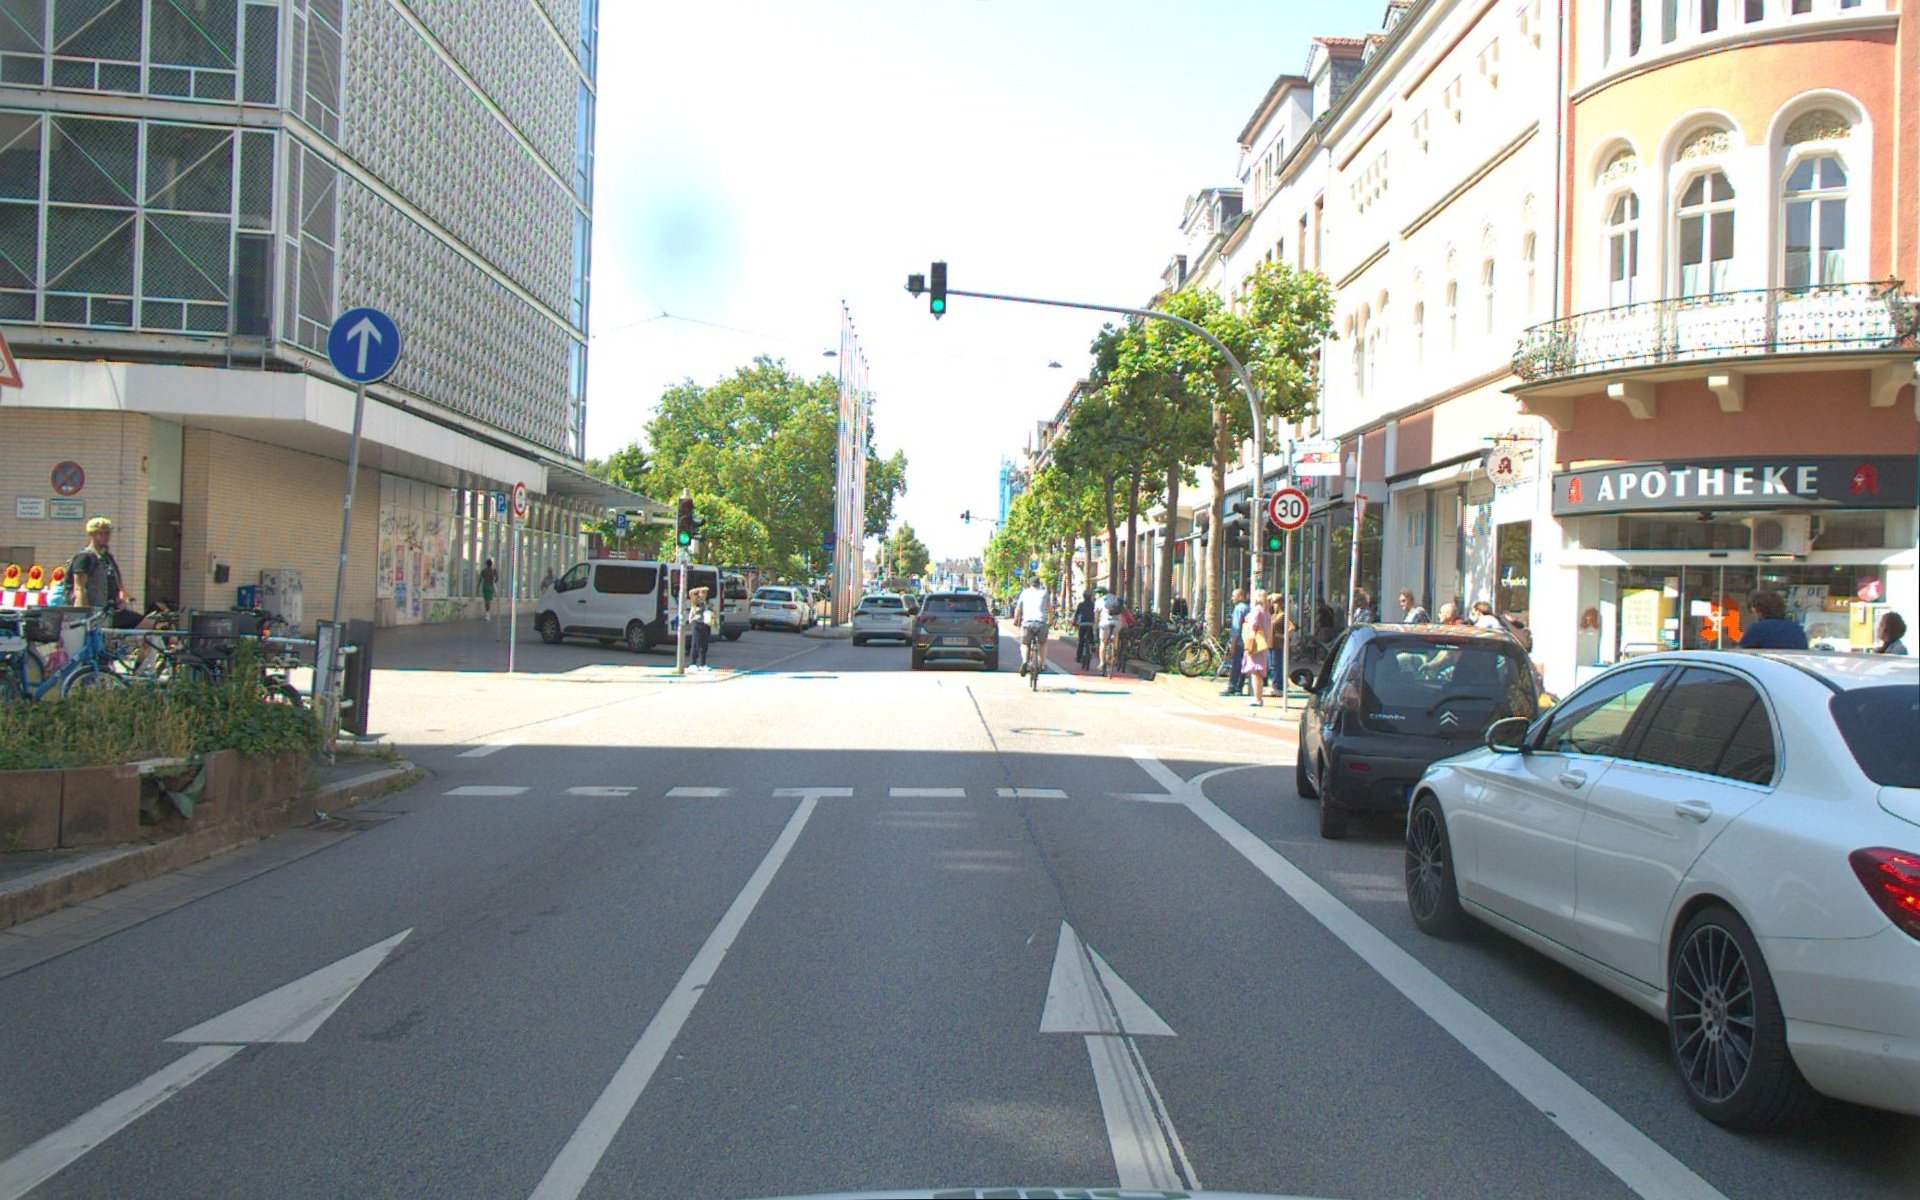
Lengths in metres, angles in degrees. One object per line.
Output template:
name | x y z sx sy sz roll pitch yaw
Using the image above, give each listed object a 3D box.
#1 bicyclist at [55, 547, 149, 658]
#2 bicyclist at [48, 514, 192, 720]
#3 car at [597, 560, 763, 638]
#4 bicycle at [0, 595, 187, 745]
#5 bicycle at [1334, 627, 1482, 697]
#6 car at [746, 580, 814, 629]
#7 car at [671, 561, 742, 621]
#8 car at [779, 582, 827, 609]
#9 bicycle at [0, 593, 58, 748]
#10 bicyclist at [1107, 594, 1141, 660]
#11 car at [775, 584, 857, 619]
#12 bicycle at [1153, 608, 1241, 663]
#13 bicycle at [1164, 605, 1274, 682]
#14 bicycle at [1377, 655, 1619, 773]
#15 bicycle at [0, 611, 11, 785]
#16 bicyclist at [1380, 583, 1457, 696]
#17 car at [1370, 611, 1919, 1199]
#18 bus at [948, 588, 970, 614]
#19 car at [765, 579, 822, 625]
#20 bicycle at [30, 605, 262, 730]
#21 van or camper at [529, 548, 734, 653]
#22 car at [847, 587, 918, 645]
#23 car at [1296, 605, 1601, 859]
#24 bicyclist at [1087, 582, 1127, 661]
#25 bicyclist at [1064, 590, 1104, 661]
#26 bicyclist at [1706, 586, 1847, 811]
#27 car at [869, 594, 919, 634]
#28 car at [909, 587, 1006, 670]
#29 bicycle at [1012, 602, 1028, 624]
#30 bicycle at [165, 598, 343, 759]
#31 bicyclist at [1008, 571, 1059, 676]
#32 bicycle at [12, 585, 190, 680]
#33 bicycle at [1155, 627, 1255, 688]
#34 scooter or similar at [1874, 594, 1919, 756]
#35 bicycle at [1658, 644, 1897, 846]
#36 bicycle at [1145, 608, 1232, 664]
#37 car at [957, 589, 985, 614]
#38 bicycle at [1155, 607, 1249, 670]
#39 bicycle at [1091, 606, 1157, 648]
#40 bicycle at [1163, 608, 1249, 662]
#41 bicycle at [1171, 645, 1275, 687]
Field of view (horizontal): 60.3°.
bicyclist | -12.427 0.029 23.971 1.068 1.566 0.725 -1 1 -42
bicyclist | -8.471 0.167 16.723 0.824 1.994 1.017 1 0 5
car | -7.683 -0.037 45.285 4.358 1.943 2.002 2 1 36
bicycle | -7.460 0.568 14.188 2.023 1.189 0.603 1 -1 37
bicycle | 5.830 0.804 21.565 1.784 0.859 0.501 1 0 0
car | -6.130 0.116 56.801 1.762 1.549 4.738 3 1 0
car | -9.196 -0.339 60.245 1.794 2.049 4.685 2 0 0
car | -12.333 -0.332 130.149 1.821 1.989 4.761 2 -1 20
bicycle | -8.087 0.506 13.038 2.017 1.146 0.646 2 0 26
bicyclist | 3.511 0.570 35.452 0.588 1.381 0.720 2 -1 -4
car | -7.246 0.034 83.781 1.854 1.568 4.857 3 2 26
bicycle | 5.132 0.772 35.899 1.802 1.146 0.666 1 -1 1
bicycle | 4.731 0.777 30.282 1.822 1.209 0.713 6 3 38
bicycle | 6.006 1.251 18.553 2.511 1.146 0.628 2 -1 18
bicycle | -7.328 0.584 11.088 2.017 1.146 0.561 4 1 24
bicyclist | 5.977 0.505 21.570 0.841 1.436 0.501 1 0 0
car | 3.255 0.856 6.448 1.913 1.449 4.885 3 0 -2
bus | -0.193 0.163 242.783 2.934 3.657 11.741 2 -1 -1
car | -6.260 0.069 62.597 1.725 1.628 4.708 2 0 -1
bicycle | -8.162 0.661 16.630 1.944 1.146 0.800 2 1 6
van or camper | -7.404 -0.015 37.025 4.574 2.048 1.990 4 1 39
car | -2.193 0.432 47.662 1.808 1.587 4.000 1 0 0
car | 3.416 0.852 12.164 1.594 1.504 3.734 2 -1 8
bicyclist | 2.867 0.414 32.329 0.617 1.507 1.198 1 0 -1
bicyclist | 2.663 0.538 35.486 0.684 1.466 0.790 3 0 -4
bicyclist | 6.391 0.751 12.972 0.716 1.703 0.774 1 0 0
car | -2.525 0.525 63.965 1.808 1.474 3.999 1 0 -1
car | -0.107 0.541 34.172 1.809 1.586 3.998 1 0 -3
bicycle | 2.841 0.620 78.550 0.634 1.015 2.030 2 0 0
bicycle | -5.892 0.619 13.739 2.030 1.193 0.601 2 -1 45
bicyclist | 1.185 0.372 26.766 0.758 1.664 0.851 1 0 0
bicycle | -12.427 0.442 23.976 2.192 1.289 0.725 -1 1 -42
bicycle | 4.874 1.151 33.014 1.814 0.401 1.024 10 -35 4
scooter or similar | 6.868 0.461 10.987 0.769 1.079 1.123 -6 -2 -9
bicycle | 6.293 1.062 12.904 0.717 1.291 2.283 3 1 1
bicycle | 4.839 0.763 35.127 1.801 1.146 0.667 1 -1 7
car | 0.768 0.125 121.170 1.808 1.697 3.999 3 0 -2
bicycle | 4.947 0.784 33.816 1.801 1.146 0.346 4 1 15
bicycle | 4.764 0.785 48.103 1.802 1.112 0.564 3 0 0
bicycle | 5.440 0.781 36.690 1.802 1.146 0.666 1 -1 1
bicycle | 5.102 1.301 32.214 1.123 0.441 1.842 -10 -4 -26
